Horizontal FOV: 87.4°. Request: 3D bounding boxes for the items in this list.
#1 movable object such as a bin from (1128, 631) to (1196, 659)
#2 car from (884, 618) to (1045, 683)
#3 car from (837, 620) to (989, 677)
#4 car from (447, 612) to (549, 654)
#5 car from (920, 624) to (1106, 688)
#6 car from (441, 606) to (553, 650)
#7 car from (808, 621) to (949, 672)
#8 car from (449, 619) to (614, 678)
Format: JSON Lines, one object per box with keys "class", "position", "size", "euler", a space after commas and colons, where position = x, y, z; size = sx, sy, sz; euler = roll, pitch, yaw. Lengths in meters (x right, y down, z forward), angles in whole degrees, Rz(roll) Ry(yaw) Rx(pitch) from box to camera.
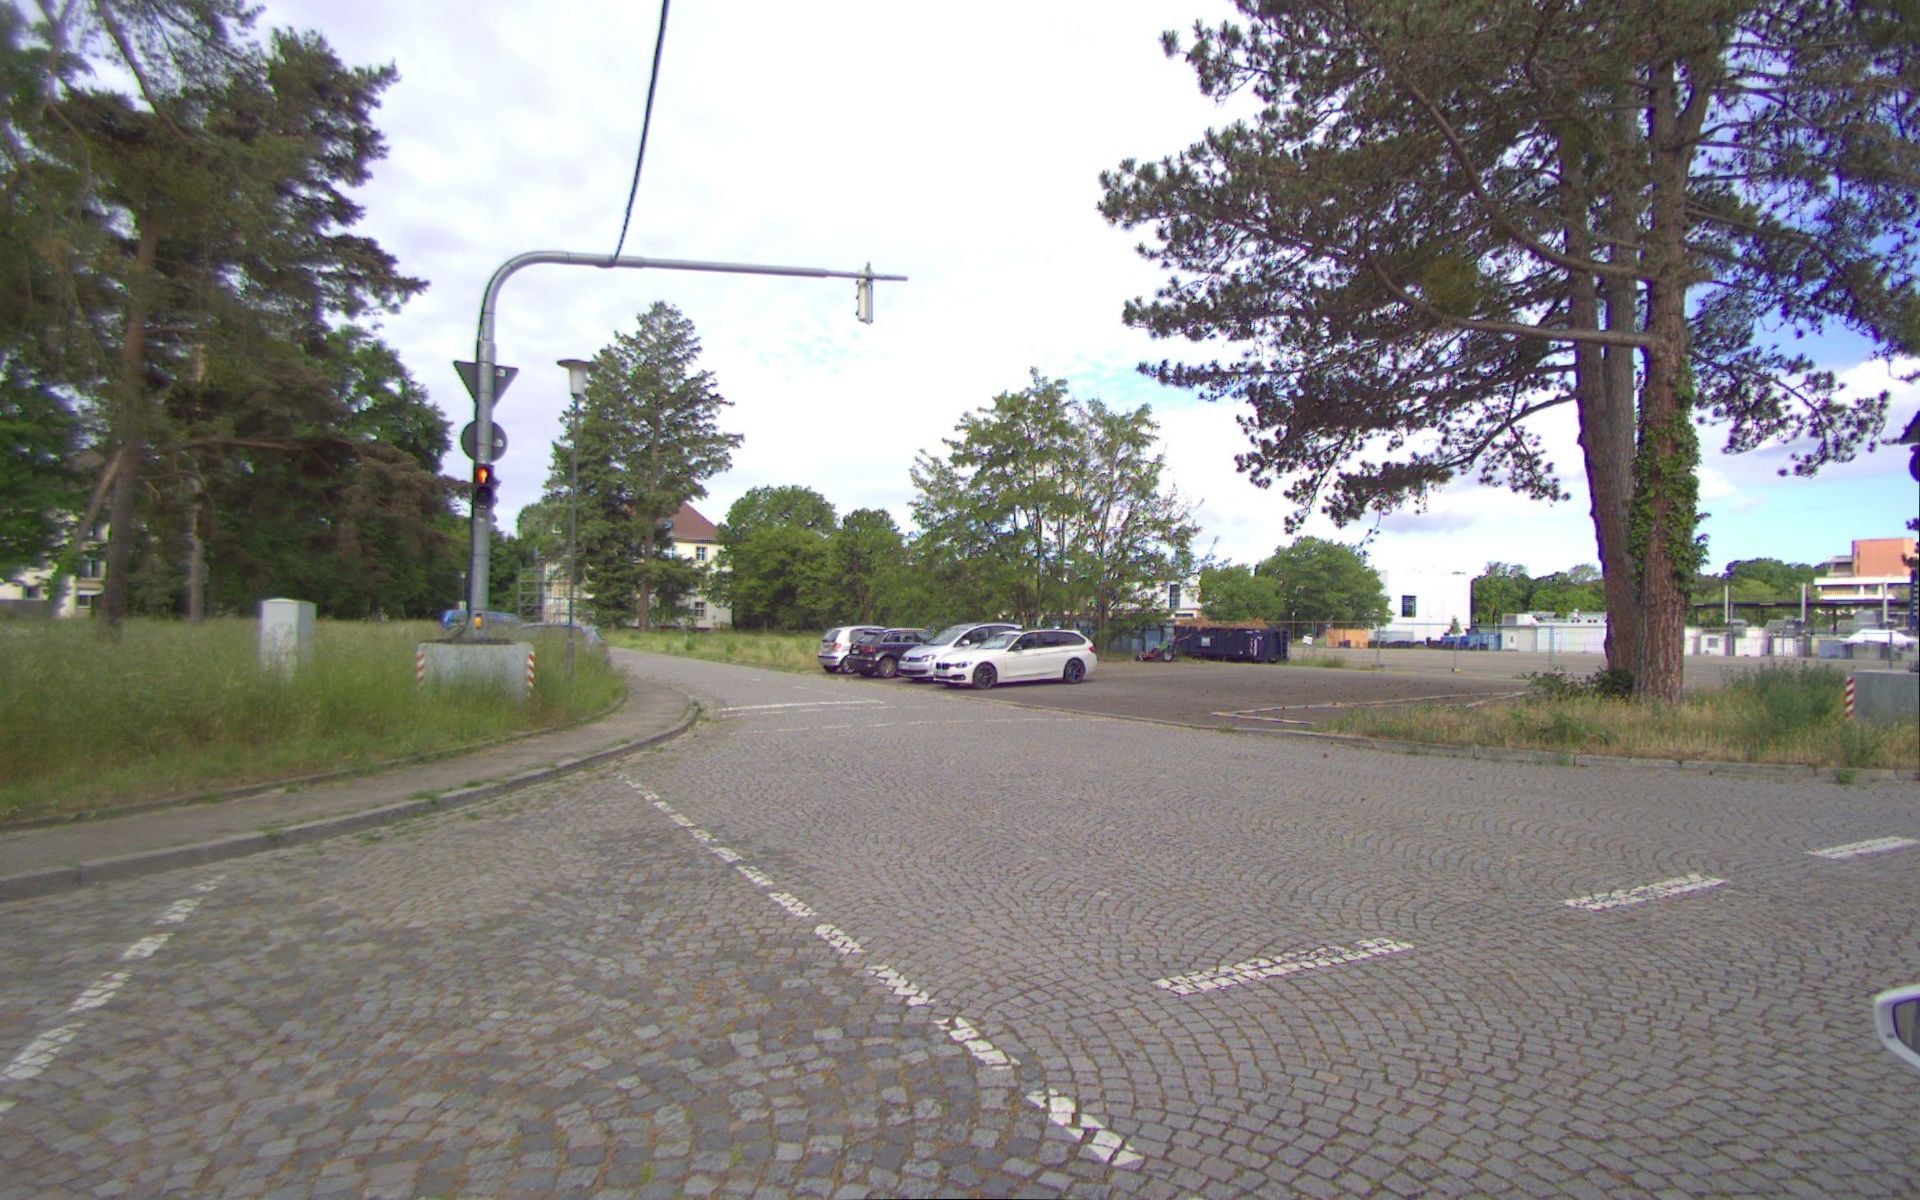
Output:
{"class": "movable object such as a bin", "position": [8.091, 1.791, 40.182], "size": [2.630, 1.061, 1.171], "euler": [2, -2, -34]}
{"class": "car", "position": [0.150, 1.370, 28.527], "size": [4.278, 1.605, 1.812], "euler": [-1, 0, -32]}
{"class": "car", "position": [-1.406, 1.415, 30.713], "size": [4.278, 1.522, 1.845], "euler": [-1, 0, -32]}
{"class": "car", "position": [-19.929, 1.401, 43.407], "size": [3.948, 1.737, 1.679], "euler": [1, -1, -27]}
{"class": "car", "position": [1.421, 1.399, 26.292], "size": [4.686, 1.461, 1.800], "euler": [0, 0, -31]}
{"class": "car", "position": [-22.170, 1.354, 48.134], "size": [4.734, 2.007, 1.983], "euler": [1, -1, -28]}
{"class": "car", "position": [-2.660, 1.525, 33.078], "size": [4.278, 1.587, 1.783], "euler": [2, -2, -32]}
{"class": "car", "position": [-11.578, 1.302, 27.204], "size": [3.952, 1.492, 1.678], "euler": [2, -2, -30]}
